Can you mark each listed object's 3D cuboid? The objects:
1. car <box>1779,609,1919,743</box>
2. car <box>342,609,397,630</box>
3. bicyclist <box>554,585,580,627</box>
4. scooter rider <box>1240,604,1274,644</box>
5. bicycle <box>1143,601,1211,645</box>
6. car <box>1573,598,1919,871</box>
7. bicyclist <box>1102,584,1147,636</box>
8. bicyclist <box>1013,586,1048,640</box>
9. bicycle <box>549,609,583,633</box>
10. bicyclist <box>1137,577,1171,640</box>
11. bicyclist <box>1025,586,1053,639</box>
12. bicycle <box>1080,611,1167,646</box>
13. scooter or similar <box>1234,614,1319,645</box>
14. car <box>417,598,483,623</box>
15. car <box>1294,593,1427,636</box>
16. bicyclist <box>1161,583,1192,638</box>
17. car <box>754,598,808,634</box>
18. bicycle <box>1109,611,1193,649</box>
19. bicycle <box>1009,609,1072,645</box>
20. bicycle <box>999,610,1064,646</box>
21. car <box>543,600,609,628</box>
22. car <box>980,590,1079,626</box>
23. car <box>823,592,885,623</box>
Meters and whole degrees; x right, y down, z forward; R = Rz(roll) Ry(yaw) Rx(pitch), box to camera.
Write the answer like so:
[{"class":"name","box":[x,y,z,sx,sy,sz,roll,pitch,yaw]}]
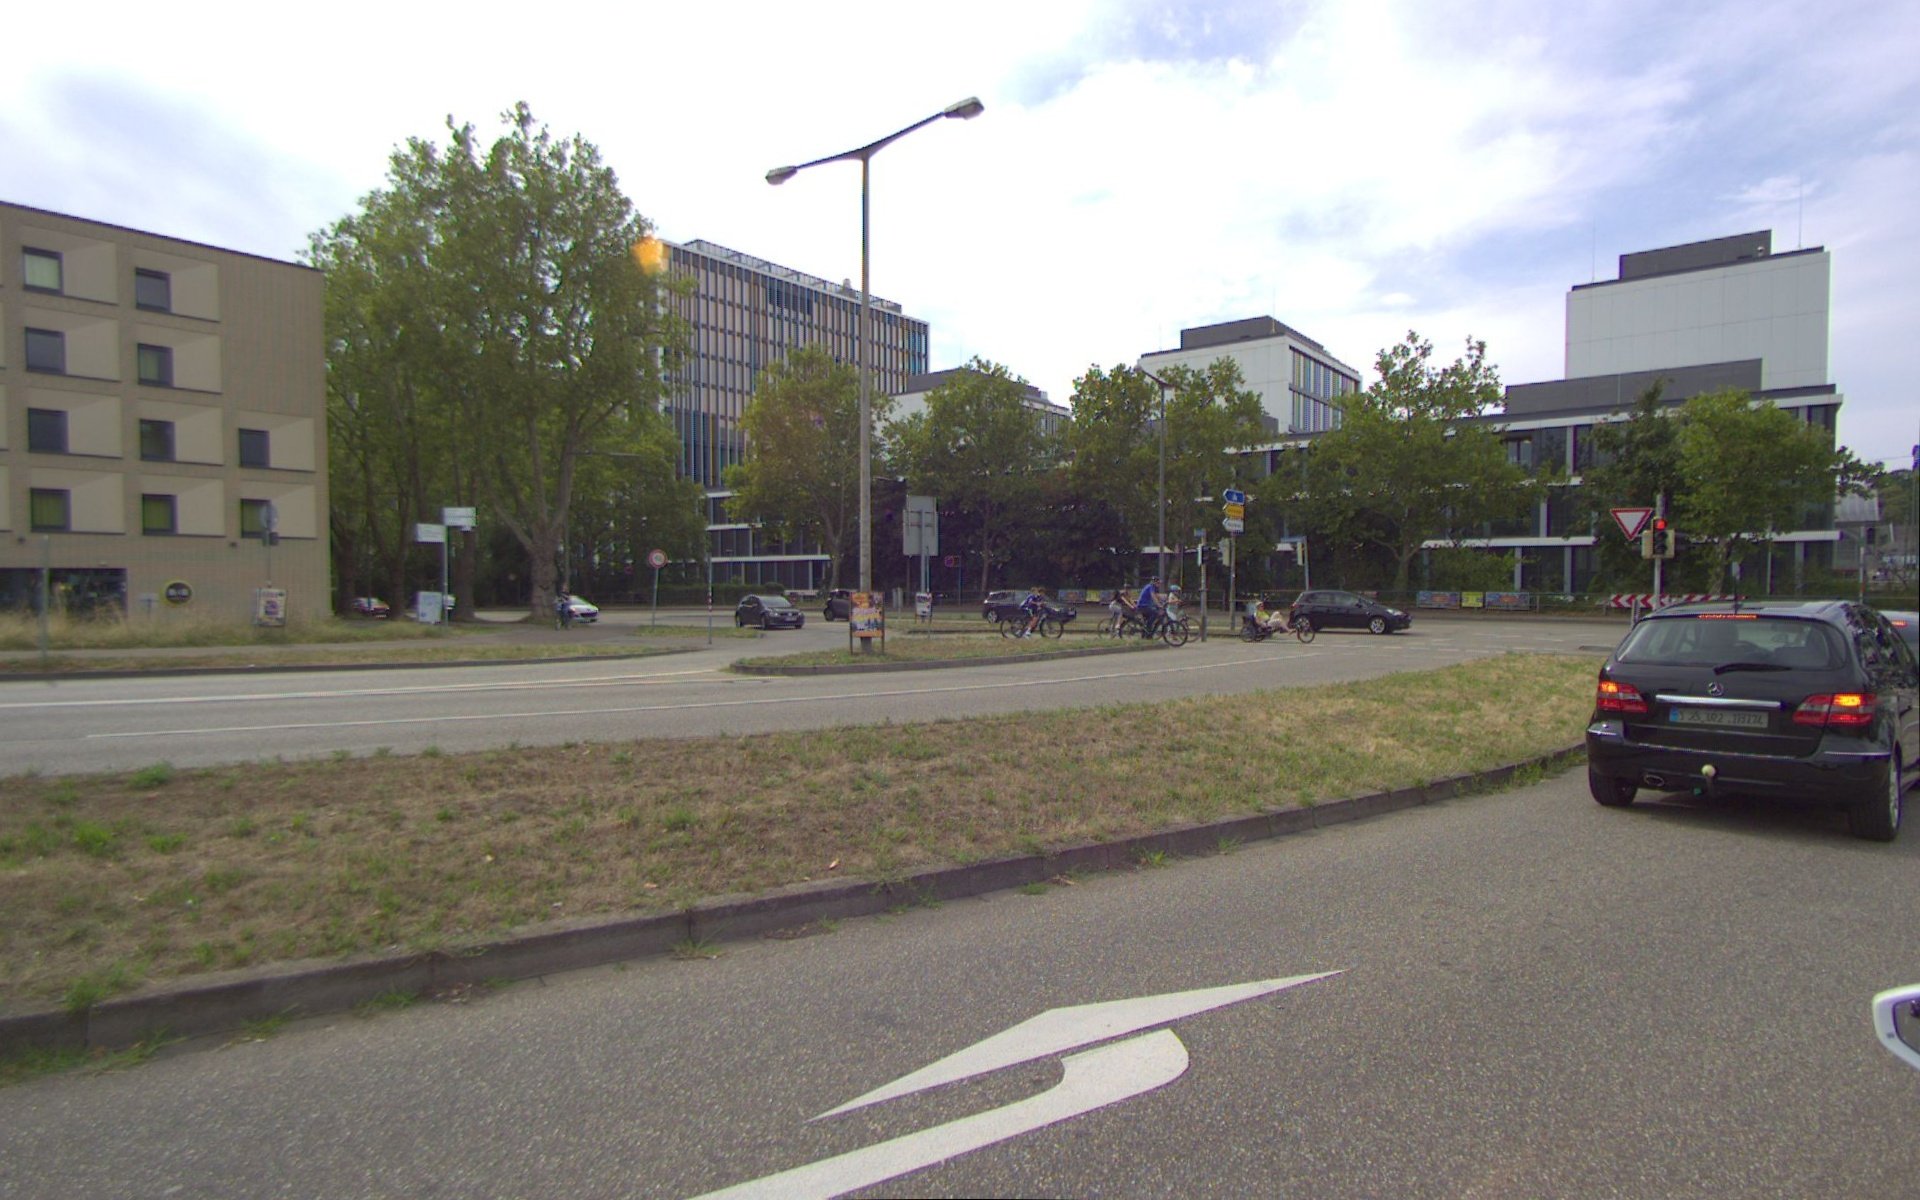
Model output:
[{"class":"car","box":[12.134,0.878,13.326,1.798,1.433,4.751,2,1,41]},{"class":"car","box":[-43.235,1.434,73.534,4.144,1.399,1.944,1,0,35]},{"class":"bicyclist","box":[-15.559,0.232,39.777,0.728,1.636,0.919,0,1,-7]},{"class":"scooter rider","box":[8.887,0.707,30.050,0.899,1.152,0.808,1,1,23]},{"class":"bicycle","box":[6.385,0.666,29.570,1.870,1.226,0.642,0,1,22]},{"class":"car","box":[6.635,0.824,8.138,4.005,1.596,1.741,-1,2,-41]},{"class":"bicyclist","box":[4.766,0.273,29.106,1.102,1.456,0.644,1,1,44]},{"class":"bicyclist","box":[2.063,0.375,29.307,0.999,1.560,0.628,0,1,4]},{"class":"bicycle","box":[-15.568,0.820,39.740,0.728,0.921,2.117,0,0,-7]},{"class":"bicyclist","box":[5.238,0.226,27.165,0.866,1.678,0.812,0,1,11]},{"class":"bicyclist","box":[2.374,0.366,30.125,0.824,1.550,0.629,0,1,6]},{"class":"bicycle","box":[4.722,0.805,29.159,2.556,0.902,0.700,1,1,44]},{"class":"scooter or similar","box":[9.400,0.857,29.838,2.340,0.861,0.808,0,1,23]},{"class":"car","box":[-33.445,0.666,65.805,4.387,1.581,1.944,1,0,33]},{"class":"car","box":[13.708,0.462,34.438,3.998,1.386,1.699,1,1,31]},{"class":"bicyclist","box":[6.370,0.293,29.560,0.767,1.602,0.654,1,1,22]},{"class":"car","box":[-7.742,0.659,43.188,1.770,1.438,3.985,1,0,-17]},{"class":"bicycle","box":[5.159,0.797,27.202,2.190,0.965,0.812,0,0,11]},{"class":"bicycle","box":[2.428,0.806,30.130,1.868,1.027,0.629,0,1,6]},{"class":"bicycle","box":[2.086,0.815,29.313,1.869,1.027,0.628,0,1,4]},{"class":"car","box":[-21.585,0.754,56.419,3.813,1.464,1.725,1,0,36]},{"class":"car","box":[2.942,0.313,43.031,4.007,1.470,1.695,1,1,39]},{"class":"car","box":[-5.095,0.346,48.129,2.676,1.441,1.494,1,1,37]}]
